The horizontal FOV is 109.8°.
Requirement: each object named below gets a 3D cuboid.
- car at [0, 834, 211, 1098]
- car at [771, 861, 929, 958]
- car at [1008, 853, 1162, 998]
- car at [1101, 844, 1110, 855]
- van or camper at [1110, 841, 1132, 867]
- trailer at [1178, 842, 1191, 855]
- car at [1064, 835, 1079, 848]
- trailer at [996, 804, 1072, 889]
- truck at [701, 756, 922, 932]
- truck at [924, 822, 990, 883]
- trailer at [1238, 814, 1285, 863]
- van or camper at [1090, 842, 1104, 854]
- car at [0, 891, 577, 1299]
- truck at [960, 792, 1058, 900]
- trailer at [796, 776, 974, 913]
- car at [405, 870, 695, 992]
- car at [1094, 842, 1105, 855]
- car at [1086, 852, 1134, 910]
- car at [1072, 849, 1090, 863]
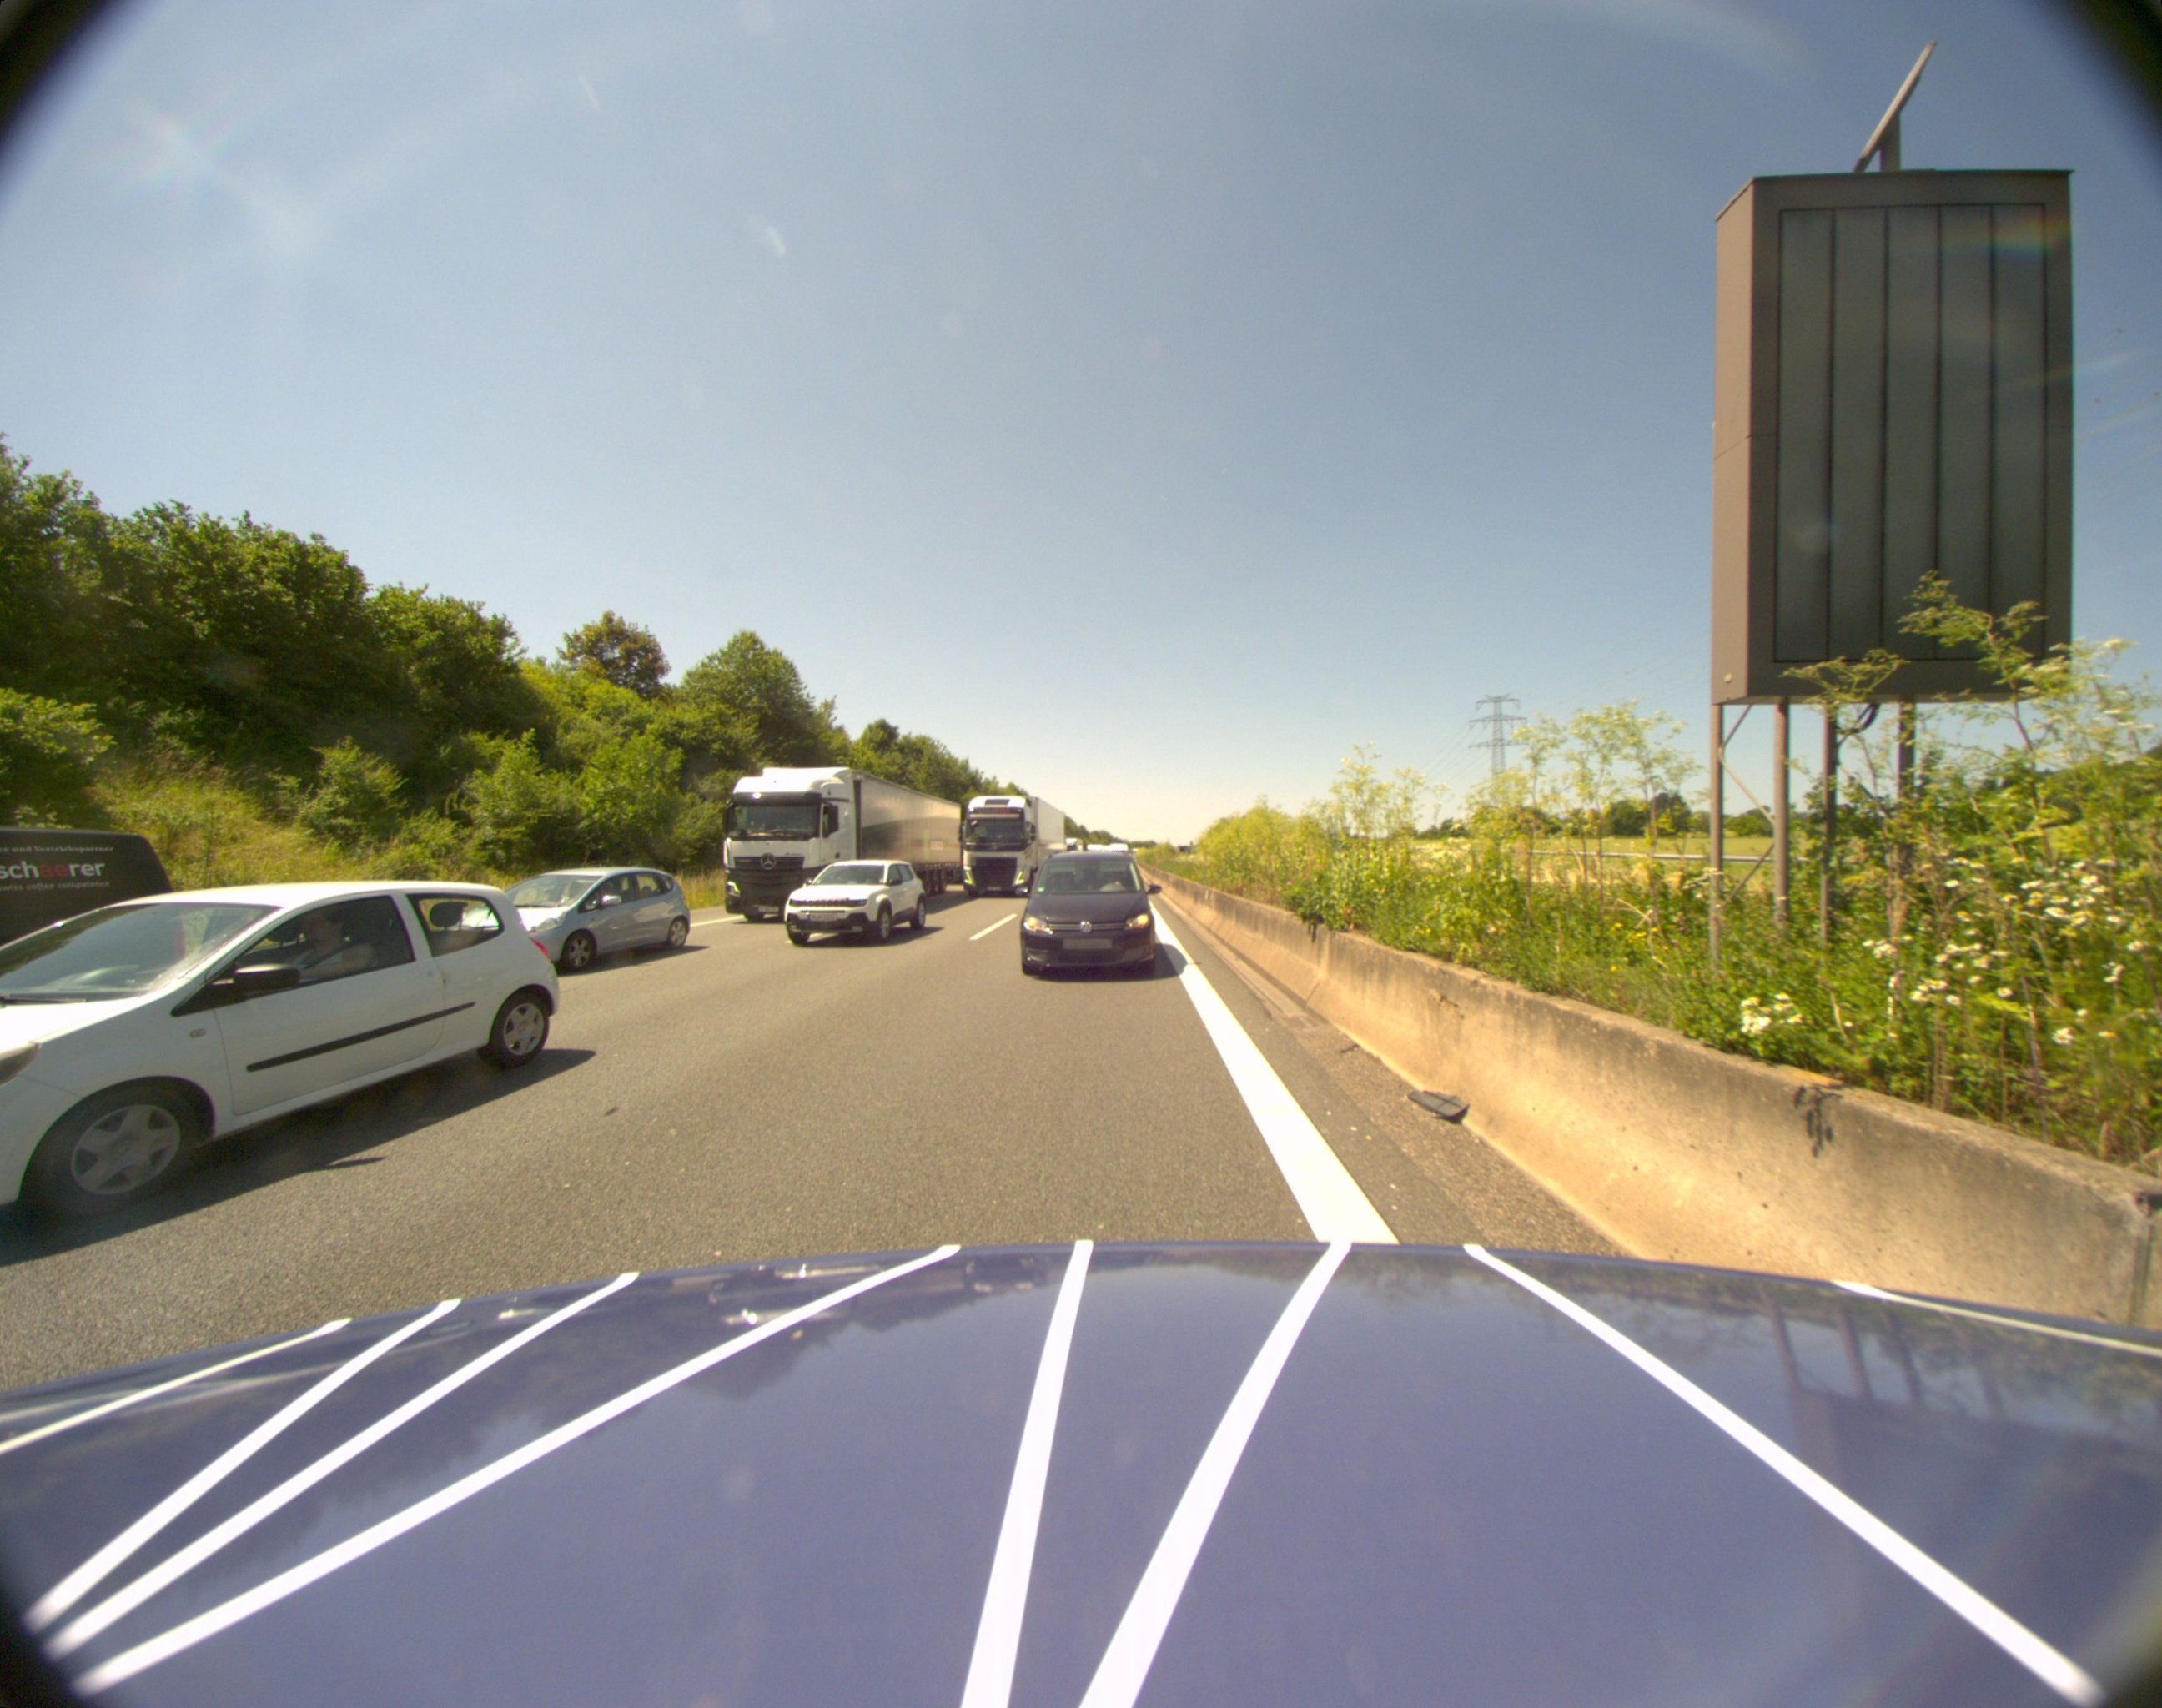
[{"bbox_3d":[-8.934,0.848,4.438,1.918,1.929,4.856,0,1,3],"label":"car"},{"bbox_3d":[-4.388,0.973,15.065,1.747,1.549,3.885,1,1,3],"label":"car"},{"bbox_3d":[0.193,0.823,11.375,1.758,1.571,5.291,0,1,3],"label":"car"},{"bbox_3d":[5.363,-1.046,165.439,1.998,2.302,4.230,-1,1,3],"label":"car"},{"bbox_3d":[3.901,-0.078,73.132,1.956,2.368,4.037,-2,1,4],"label":"van or camper"},{"bbox_3d":[30.456,-1.713,223.926,3.190,3.740,8.201,0,0,2],"label":"trailer"},{"bbox_3d":[-1.457,-1.939,120.345,1.998,2.002,4.000,-1,1,3],"label":"car"},{"bbox_3d":[-2.254,-0.398,40.192,2.775,3.951,9.157,-1,1,4],"label":"trailer"},{"bbox_3d":[-7.284,-0.275,22.276,2.879,4.133,8.476,-1,1,4],"label":"truck"},{"bbox_3d":[-6.696,-0.097,41.911,2.299,3.128,5.676,-1,1,4],"label":"truck"},{"bbox_3d":[19.882,-1.695,84.194,3.330,5.018,9.591,-1,1,3],"label":"trailer"},{"bbox_3d":[2.773,-1.072,128.686,2.189,2.018,4.365,-1,1,4],"label":"van or camper"},{"bbox_3d":[-5.144,1.068,4.536,1.609,1.426,3.810,1,1,3],"label":"car"},{"bbox_3d":[-2.793,-0.337,32.220,2.749,3.972,8.362,-1,1,4],"label":"truck"},{"bbox_3d":[-6.829,-0.347,29.167,2.879,4.133,12.077,-1,1,4],"label":"trailer"},{"bbox_3d":[-7.926,1.045,11.864,1.666,1.453,3.922,1,1,2],"label":"car"},{"bbox_3d":[3.573,-1.090,144.843,1.998,2.302,4.229,-1,1,2],"label":"car"},{"bbox_3d":[0.971,0.797,24.095,1.357,1.630,2.994,-2,1,4],"label":"car"},{"bbox_3d":[0.024,0.192,80.575,1.650,1.336,3.382,-1,1,4],"label":"car"}]
